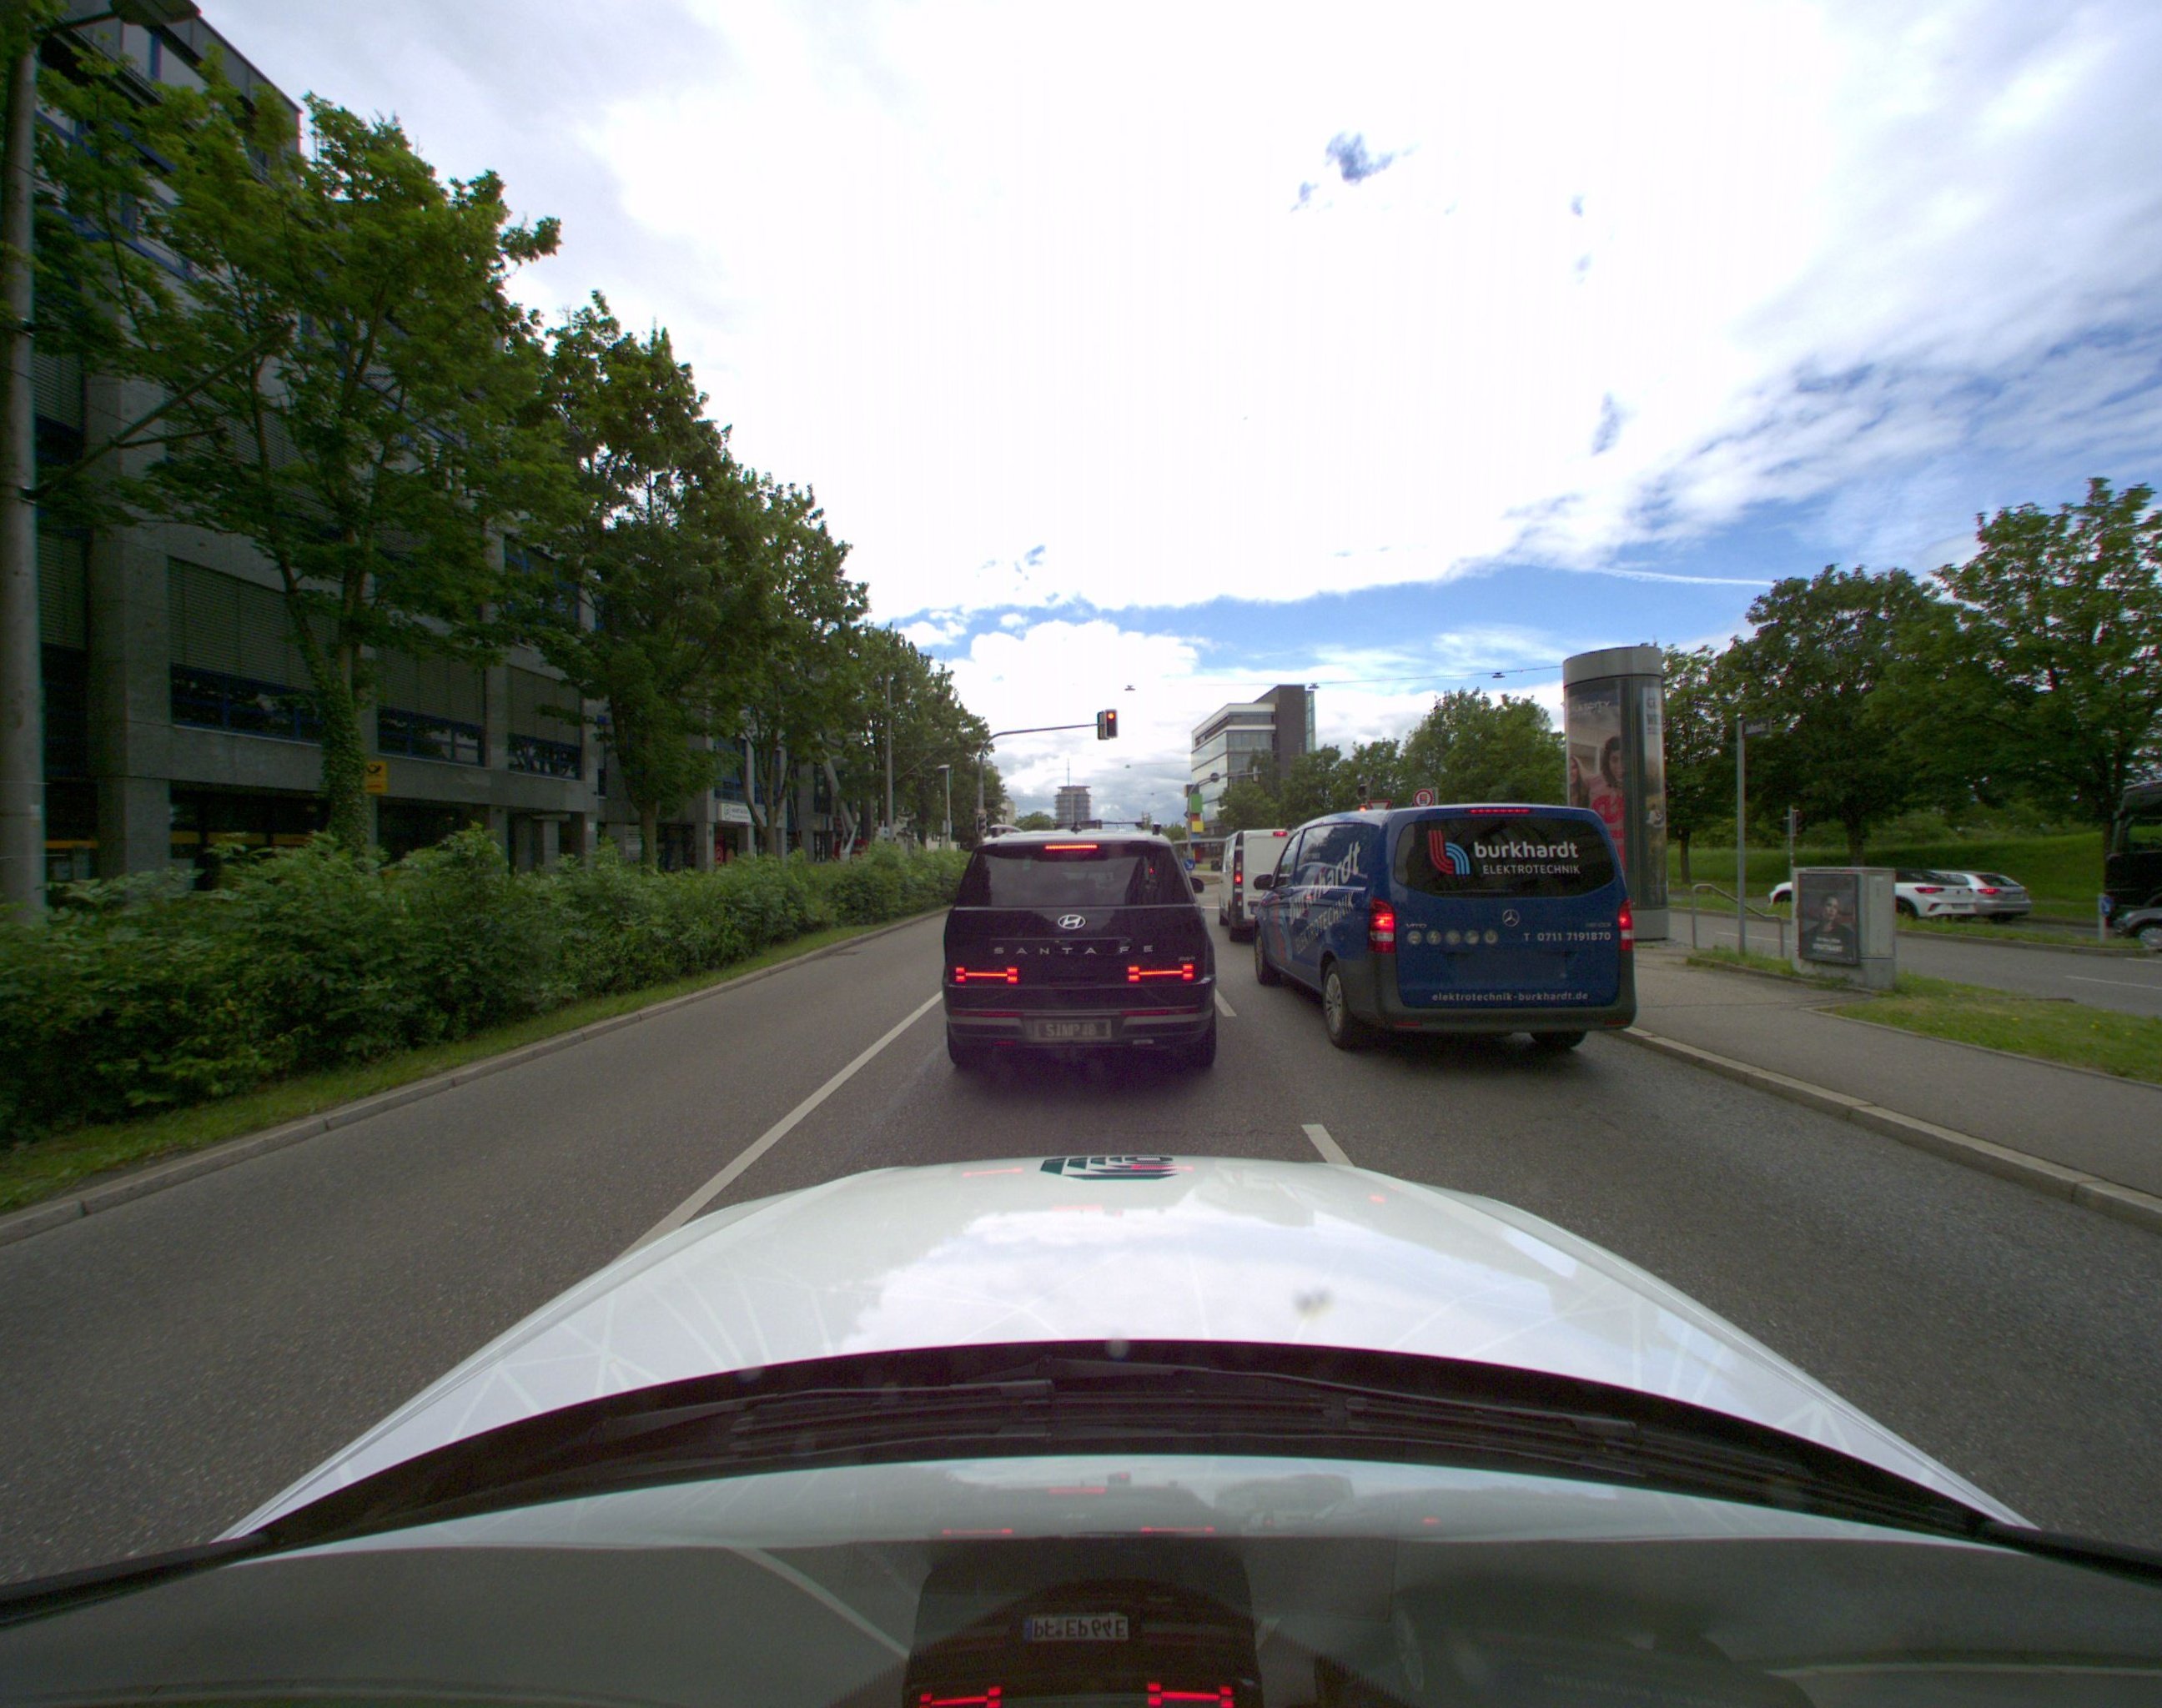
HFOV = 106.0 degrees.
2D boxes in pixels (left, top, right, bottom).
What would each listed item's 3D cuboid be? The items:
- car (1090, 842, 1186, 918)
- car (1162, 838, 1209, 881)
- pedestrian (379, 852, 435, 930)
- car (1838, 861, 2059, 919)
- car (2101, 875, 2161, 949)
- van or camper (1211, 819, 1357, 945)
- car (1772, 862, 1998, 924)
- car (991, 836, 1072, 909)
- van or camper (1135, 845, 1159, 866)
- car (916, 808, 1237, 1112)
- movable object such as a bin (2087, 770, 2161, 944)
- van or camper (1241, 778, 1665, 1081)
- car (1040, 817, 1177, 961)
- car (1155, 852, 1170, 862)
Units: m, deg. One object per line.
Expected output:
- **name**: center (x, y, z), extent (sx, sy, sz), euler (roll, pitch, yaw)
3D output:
- **car**: center (1.551, 0.612, 20.592), extent (1.764, 1.717, 4.353), euler (-1, -1, 13)
- **car**: center (5.091, 0.265, 40.301), extent (1.985, 2.014, 4.003), euler (-1, -1, 3)
- **pedestrian**: center (-16.769, 0.897, 20.268), extent (0.771, 1.894, 0.731), euler (-1, -1, 1)
- **car**: center (25.098, 0.989, 23.780), extent (1.994, 1.453, 3.985), euler (1, 0, -11)
- **car**: center (23.003, 1.212, 15.531), extent (1.994, 1.453, 3.985), euler (1, 0, -11)
- **van or camper**: center (3.638, 0.462, 15.458), extent (1.984, 2.013, 4.659), euler (-1, 0, 5)
- **car**: center (21.765, 1.010, 22.282), extent (1.994, 1.453, 3.985), euler (1, 0, -11)
- **car**: center (-1.417, 0.552, 25.144), extent (1.986, 1.948, 4.738), euler (-3, -1, 2)
- **van or camper**: center (8.639, 0.232, 105.609), extent (1.979, 2.547, 6.603), euler (-1, -1, 14)
- **car**: center (0.035, 0.629, 6.774), extent (1.862, 1.760, 3.881), euler (-1, 0, 2)
- **movable object such as a bin**: center (26.258, 0.002, 15.512), extent (2.860, 3.903, 8.536), euler (-1, -1, -11)
- **van or camper**: center (2.892, 0.491, 7.779), extent (1.853, 1.911, 5.034), euler (-1, 0, 2)
- **car**: center (0.453, 0.501, 13.569), extent (1.908, 2.003, 3.881), euler (-1, 0, 2)
- **car**: center (13.174, 0.506, 131.719), extent (1.987, 1.684, 3.998), euler (-1, -1, -1)
